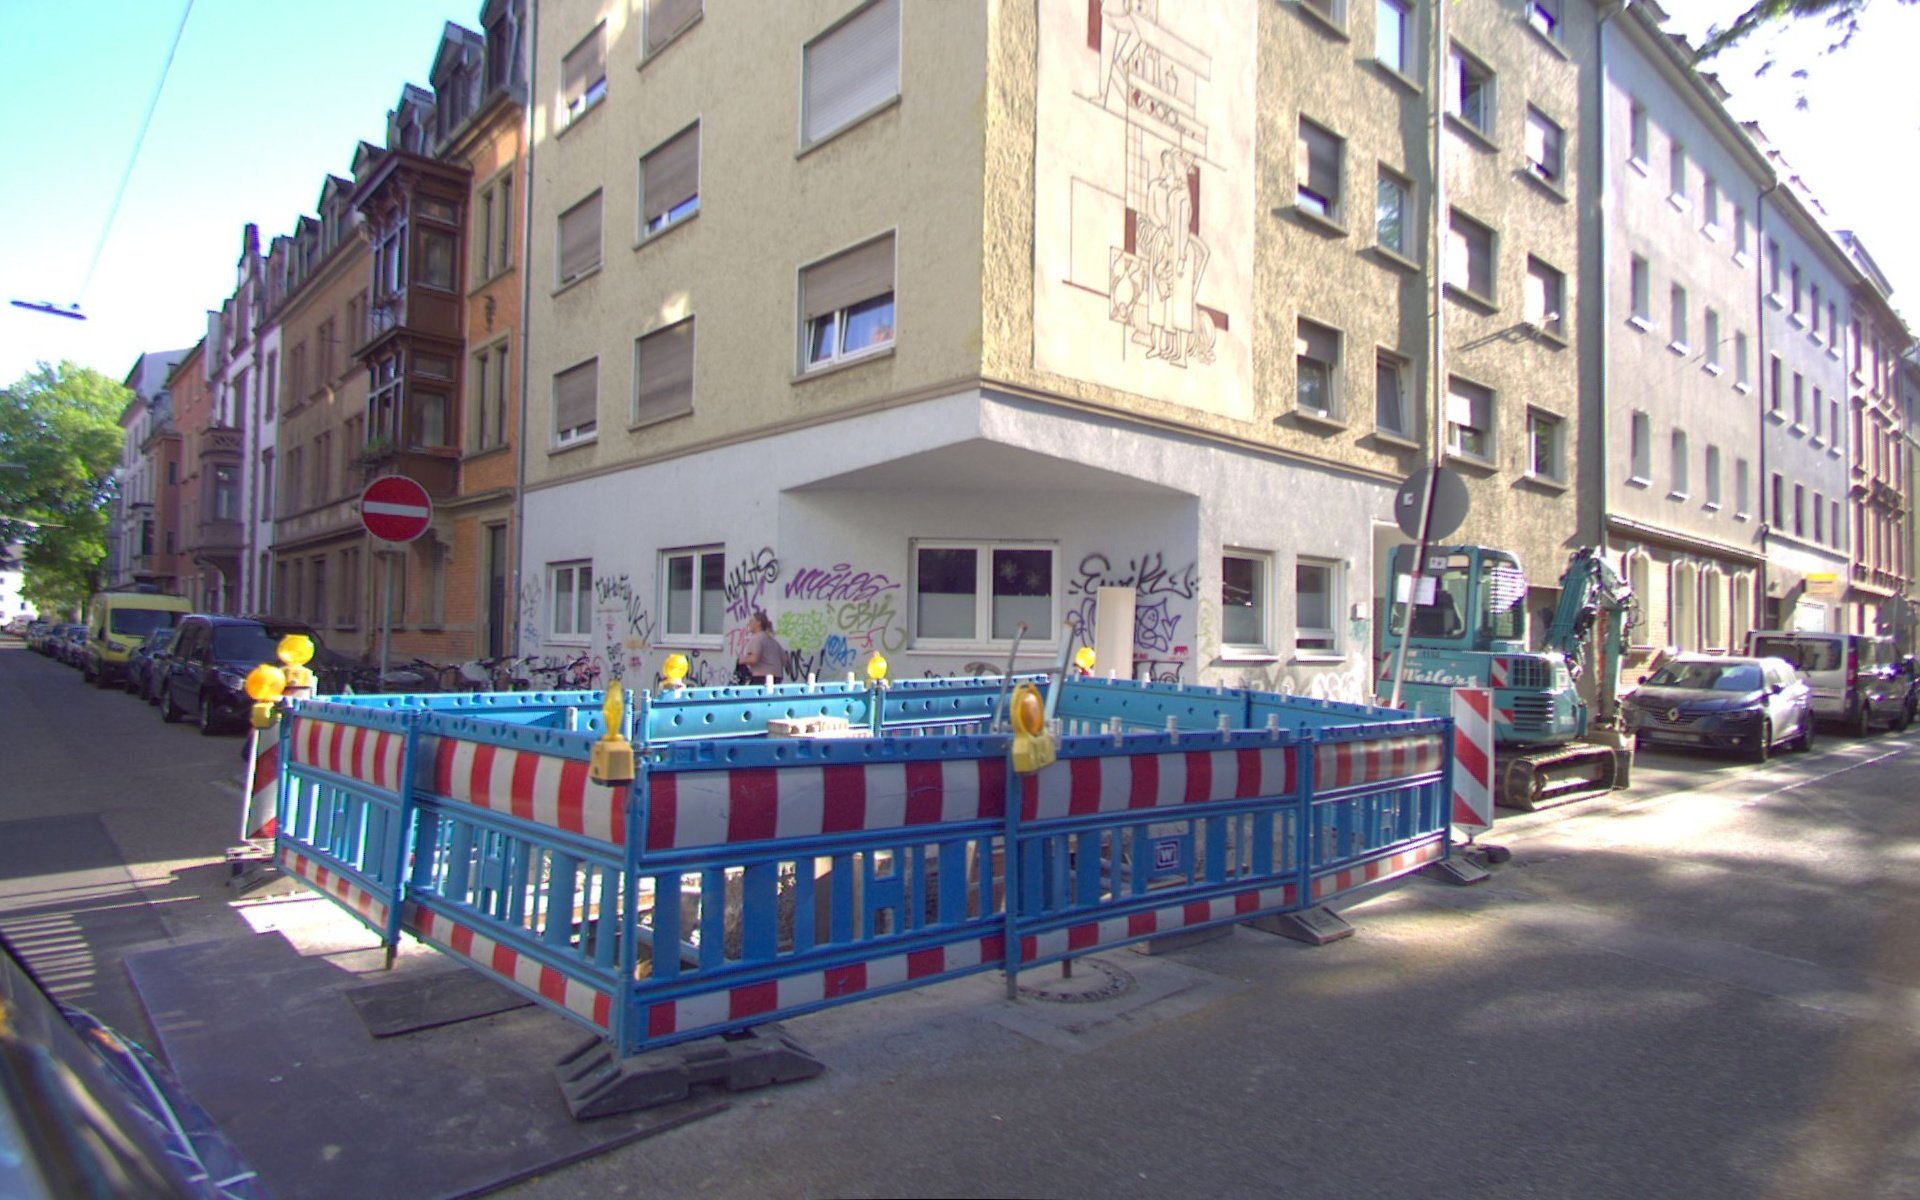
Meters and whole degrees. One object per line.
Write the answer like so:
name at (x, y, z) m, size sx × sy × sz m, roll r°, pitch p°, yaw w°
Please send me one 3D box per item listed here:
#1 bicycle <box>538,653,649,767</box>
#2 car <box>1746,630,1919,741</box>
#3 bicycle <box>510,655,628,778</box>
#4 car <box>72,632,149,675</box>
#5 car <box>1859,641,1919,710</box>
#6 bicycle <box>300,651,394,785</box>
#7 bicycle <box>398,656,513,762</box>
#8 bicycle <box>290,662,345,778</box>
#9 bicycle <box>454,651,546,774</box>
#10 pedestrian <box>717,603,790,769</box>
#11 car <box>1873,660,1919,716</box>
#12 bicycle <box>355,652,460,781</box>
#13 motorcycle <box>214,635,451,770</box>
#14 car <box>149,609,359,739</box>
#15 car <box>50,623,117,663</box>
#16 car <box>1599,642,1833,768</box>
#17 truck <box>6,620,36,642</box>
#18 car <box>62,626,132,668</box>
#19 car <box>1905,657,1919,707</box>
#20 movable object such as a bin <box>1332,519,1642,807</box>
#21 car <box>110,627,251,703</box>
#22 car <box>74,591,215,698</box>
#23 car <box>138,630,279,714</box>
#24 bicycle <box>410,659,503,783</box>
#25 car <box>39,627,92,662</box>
bicycle at (-4.271, 1.239, 11.732) m, size 1.815 × 1.237 × 0.395 m, roll -4°, pitch -5°, yaw 43°
car at (17.530, 1.628, 20.216) m, size 4.539 × 1.954 × 2.003 m, roll 3°, pitch -3°, yaw -40°
bicycle at (-4.344, 1.239, 11.161) m, size 2.031 × 1.237 × 0.394 m, roll -4°, pitch -5°, yaw 45°
car at (-29.429, 1.831, 35.020) m, size 3.614 × 1.337 × 1.599 m, roll -2°, pitch -6°, yaw 45°
car at (27.004, 2.102, 28.533) m, size 3.936 × 1.813 × 1.839 m, roll 3°, pitch -3°, yaw -39°
bicycle at (-6.100, 1.133, 10.039) m, size 1.505 × 1.237 × 0.395 m, roll -4°, pitch -5°, yaw 44°
bicycle at (-6.190, 1.290, 12.373) m, size 1.870 × 1.164 × 0.541 m, roll -1°, pitch -3°, yaw 41°
bicycle at (-7.073, 1.282, 11.116) m, size 0.371 × 1.164 × 1.294 m, roll 3°, pitch -3°, yaw -37°
bicycle at (-4.987, 1.179, 10.924) m, size 1.700 × 1.237 × 0.291 m, roll -4°, pitch -5°, yaw 45°
pedestrian at (-2.271, 0.924, 11.128) m, size 0.558 × 1.754 × 0.519 m, roll -1°, pitch -3°, yaw 41°
car at (27.672, 2.484, 28.869) m, size 3.936 × 1.503 × 1.803 m, roll 3°, pitch -3°, yaw -39°
bicycle at (-5.776, 1.174, 10.543) m, size 1.874 × 1.237 × 0.395 m, roll -4°, pitch -5°, yaw 44°
motorcycle at (-7.732, 1.200, 12.672) m, size 0.896 × 1.493 × 2.505 m, roll 0°, pitch -2°, yaw 18°
car at (-11.265, 1.082, 16.033) m, size 4.335 × 1.780 × 1.799 m, roll -1°, pitch -3°, yaw 43°
car at (-37.076, 1.802, 42.772) m, size 4.070 × 1.618 × 1.761 m, roll -2°, pitch -3°, yaw 44°
car at (11.656, 1.508, 15.518) m, size 4.137 × 1.578 × 1.913 m, roll 3°, pitch -1°, yaw -39°
truck at (-121.563, 3.983, 130.925) m, size 7.095 × 2.677 × 2.362 m, roll -1°, pitch -3°, yaw 44°
car at (-33.360, 1.818, 39.091) m, size 1.674 × 1.485 × 3.921 m, roll 7°, pitch -6°, yaw -44°
car at (31.097, 2.568, 31.580) m, size 3.936 × 1.503 × 1.803 m, roll 3°, pitch -3°, yaw -39°
movable object such as a bin at (5.677, 0.652, 10.897) m, size 2.718 × 2.621 × 2.073 m, roll 3°, pitch -4°, yaw -40°
car at (-17.695, 1.428, 22.907) m, size 4.002 × 1.564 × 1.971 m, roll -2°, pitch -4°, yaw 45°
car at (-21.857, 1.194, 27.009) m, size 2.150 × 2.527 × 5.881 m, roll 7°, pitch -6°, yaw -45°
car at (-14.566, 1.320, 19.552) m, size 1.657 × 1.461 × 3.647 m, roll 2°, pitch -3°, yaw -45°
bicycle at (-5.381, 1.252, 10.788) m, size 1.554 × 1.237 × 0.359 m, roll -4°, pitch -5°, yaw 44°
car at (-44.062, 2.180, 49.822) m, size 1.740 × 1.630 × 4.192 m, roll 3°, pitch -4°, yaw -44°
